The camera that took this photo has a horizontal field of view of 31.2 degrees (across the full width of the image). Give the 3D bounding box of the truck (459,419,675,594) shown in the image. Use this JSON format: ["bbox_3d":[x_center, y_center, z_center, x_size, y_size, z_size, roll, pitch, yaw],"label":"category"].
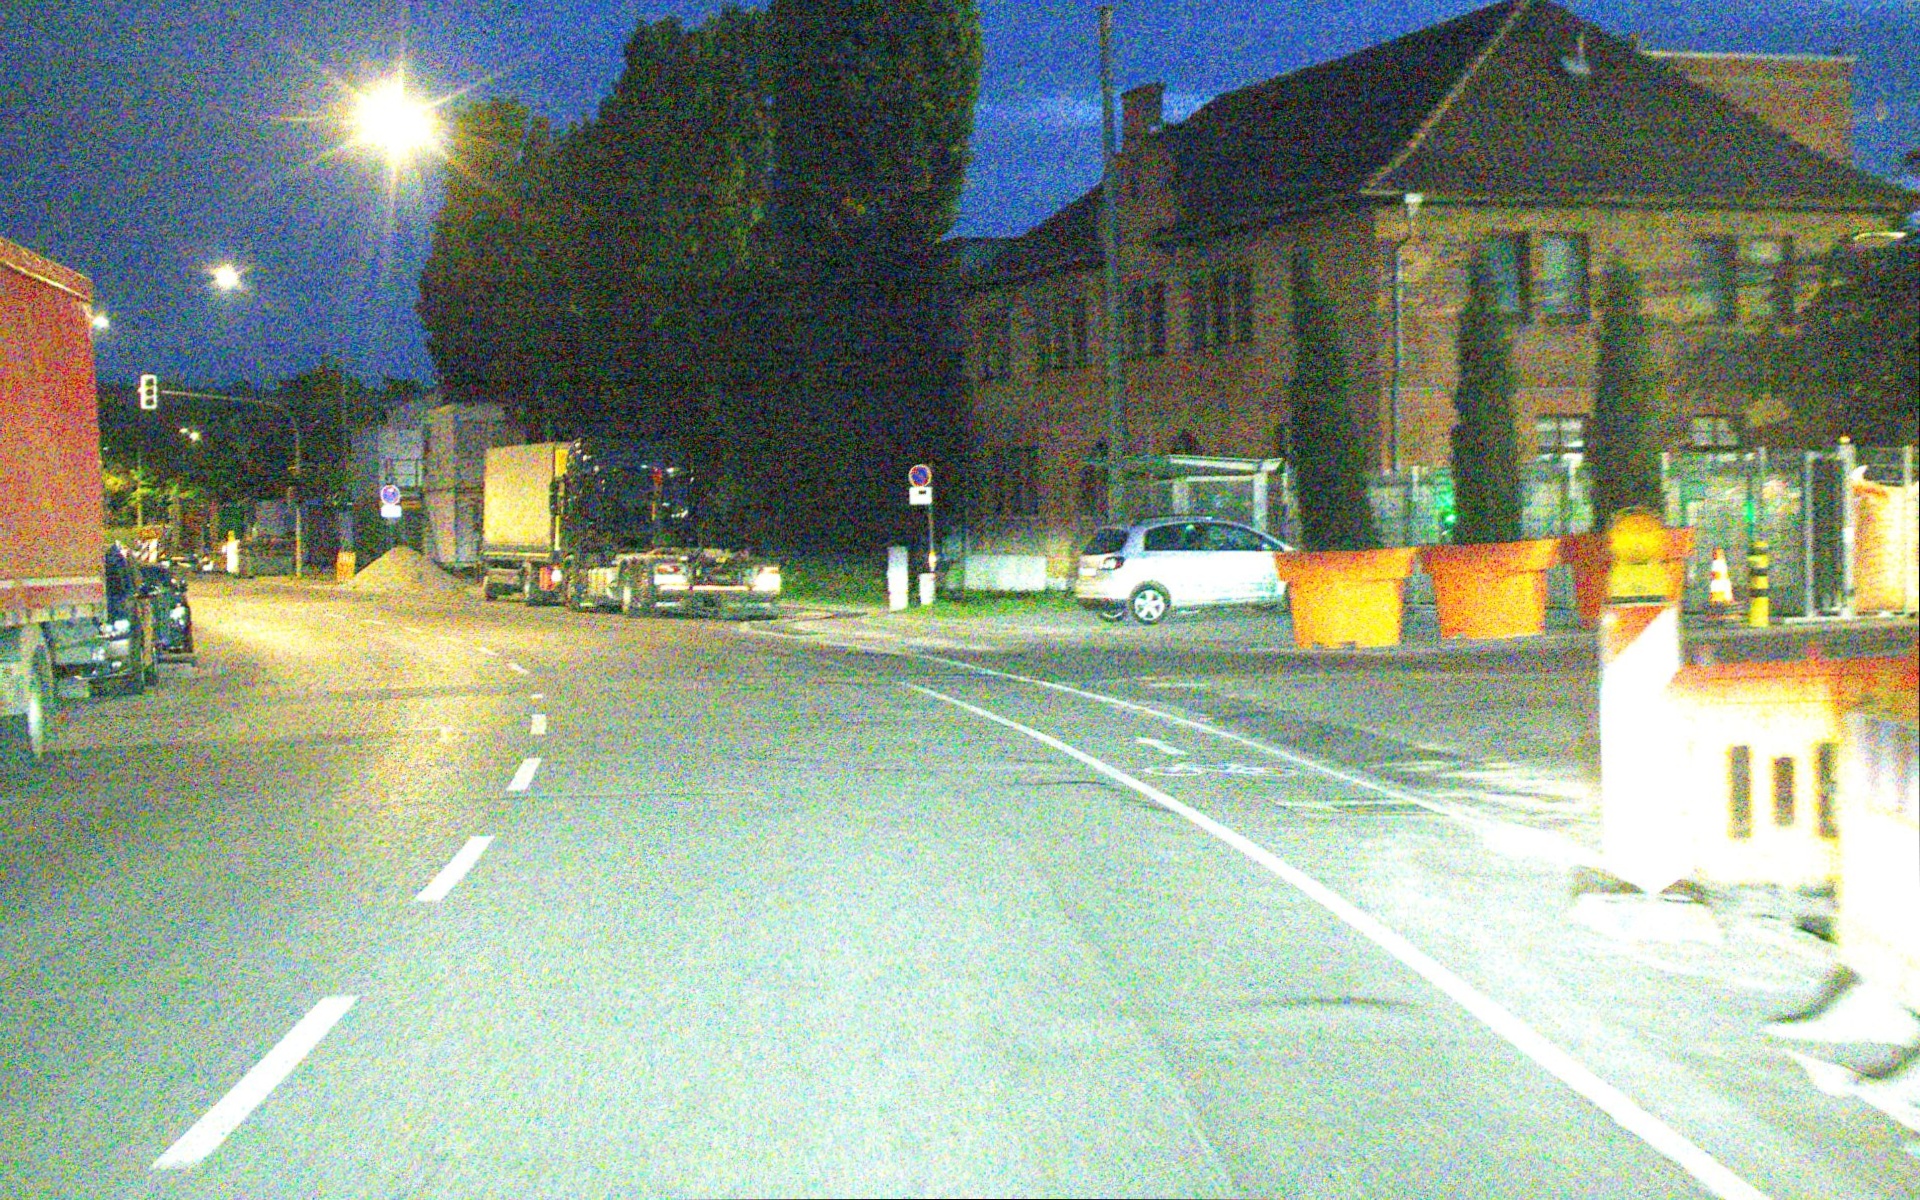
[{"bbox_3d":[-9.267,-2.137,79.905,2.754,3.770,10.229,-1,1,-19],"label":"truck"}]

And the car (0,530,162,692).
[{"bbox_3d":[-9.534,0.066,36.248,1.866,1.587,4.496,-1,1,-9],"label":"car"}]

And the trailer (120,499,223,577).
[{"bbox_3d":[-33.416,-2.597,145.660,3.480,3.208,4.866,0,0,-22],"label":"trailer"}]

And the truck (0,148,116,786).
[{"bbox_3d":[-7.544,-0.848,21.880,2.772,4.106,9.343,-1,1,-5],"label":"truck"}]

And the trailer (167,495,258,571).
[{"bbox_3d":[-28.692,-2.537,131.932,2.613,2.836,4.710,0,0,-22],"label":"trailer"}]

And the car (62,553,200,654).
[{"bbox_3d":[-12.254,0.011,50.653,1.814,1.366,4.362,-1,1,-16],"label":"car"}]

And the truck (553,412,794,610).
[{"bbox_3d":[-5.995,-1.788,70.286,2.754,3.770,9.140,-1,1,-19],"label":"truck"}]

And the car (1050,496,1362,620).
[{"bbox_3d":[3.782,-0.674,52.866,4.325,1.640,1.893,-4,3,-19],"label":"car"}]
